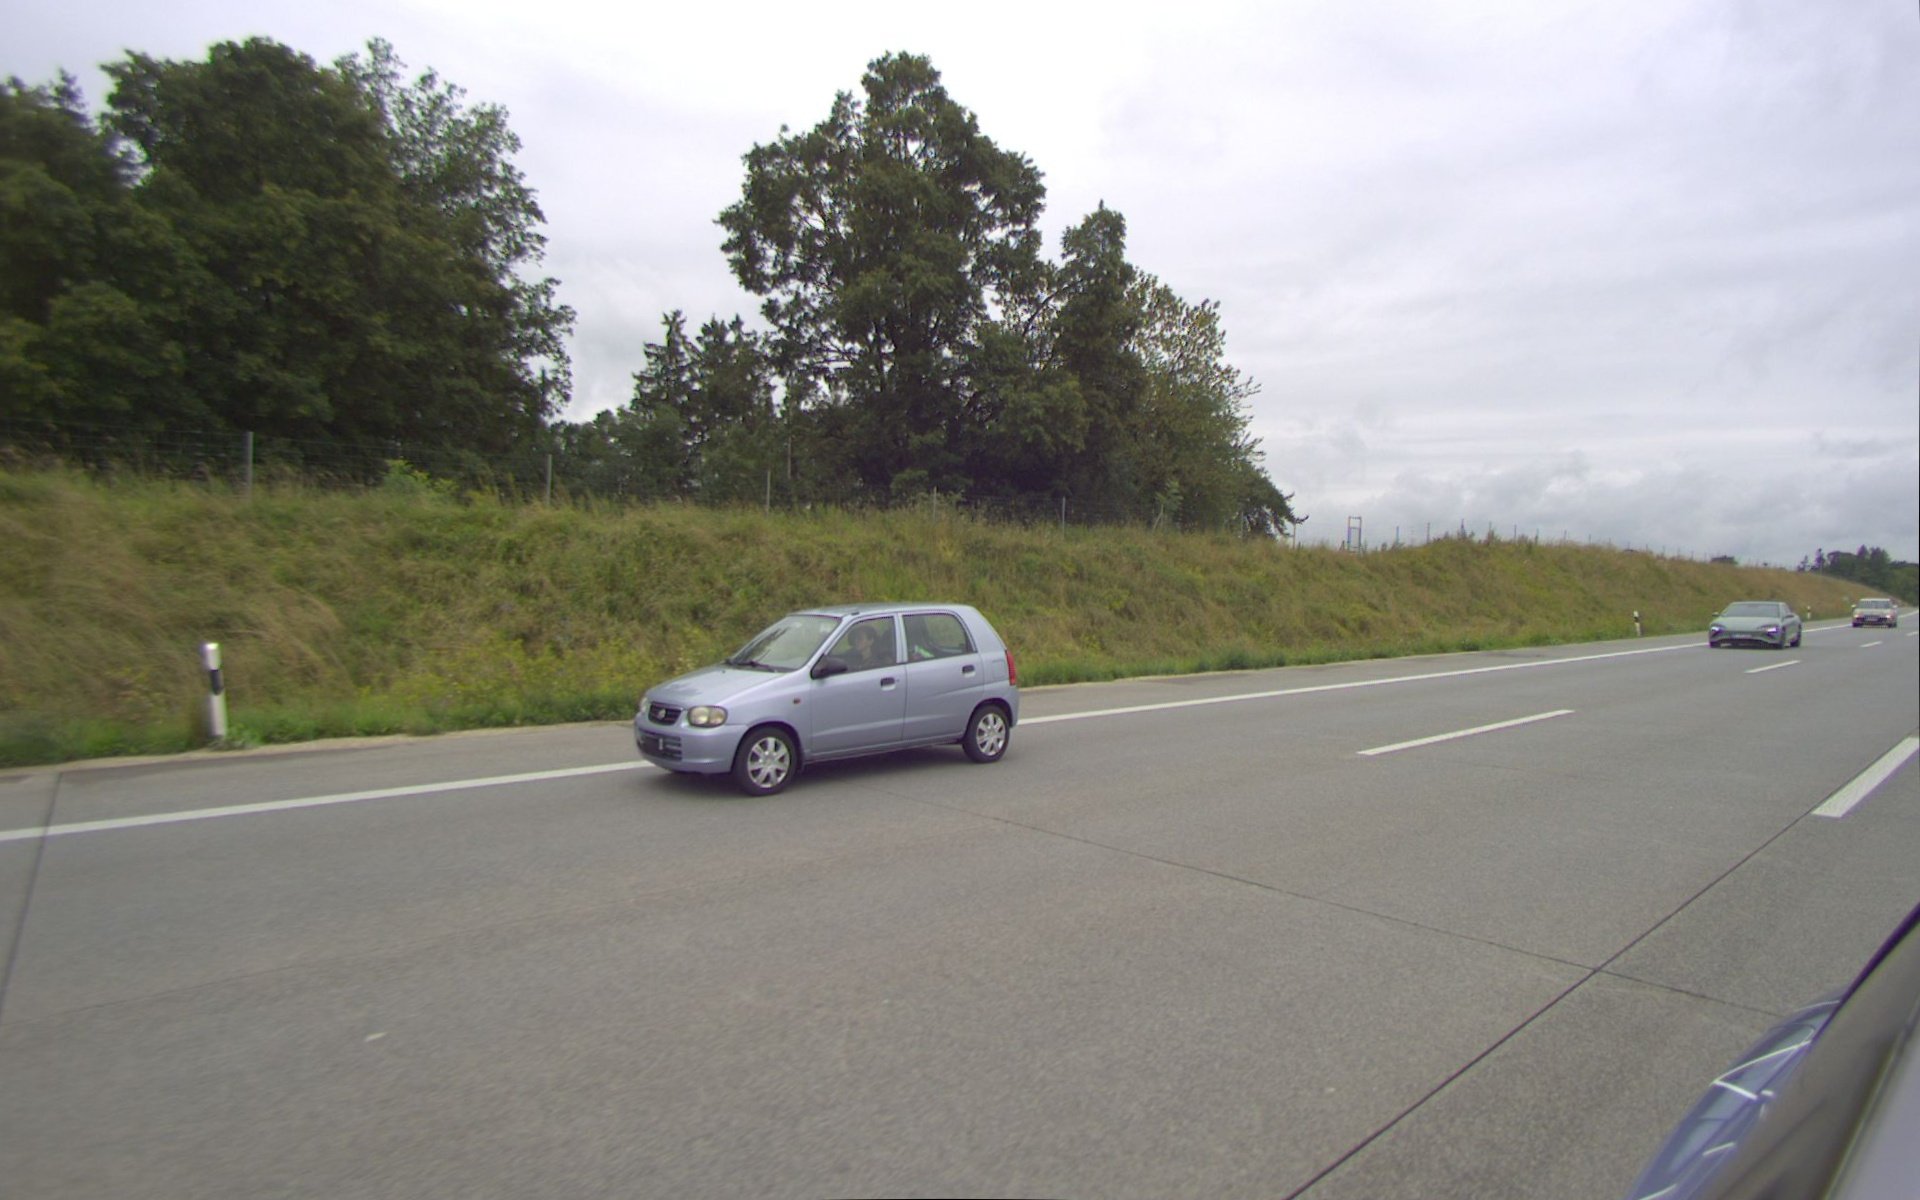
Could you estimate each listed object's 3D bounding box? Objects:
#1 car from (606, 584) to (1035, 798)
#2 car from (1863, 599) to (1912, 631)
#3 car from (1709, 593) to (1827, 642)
[{"bbox_3d":[-1.088,0.659,8.807,3.443,1.489,1.488,1,0,-42],"label":"car"},{"bbox_3d":[52.874,0.851,57.644,4.496,1.624,1.787,1,3,-45],"label":"car"},{"bbox_3d":[26.054,0.576,32.596,4.659,1.464,2.019,1,-1,-39],"label":"car"}]
